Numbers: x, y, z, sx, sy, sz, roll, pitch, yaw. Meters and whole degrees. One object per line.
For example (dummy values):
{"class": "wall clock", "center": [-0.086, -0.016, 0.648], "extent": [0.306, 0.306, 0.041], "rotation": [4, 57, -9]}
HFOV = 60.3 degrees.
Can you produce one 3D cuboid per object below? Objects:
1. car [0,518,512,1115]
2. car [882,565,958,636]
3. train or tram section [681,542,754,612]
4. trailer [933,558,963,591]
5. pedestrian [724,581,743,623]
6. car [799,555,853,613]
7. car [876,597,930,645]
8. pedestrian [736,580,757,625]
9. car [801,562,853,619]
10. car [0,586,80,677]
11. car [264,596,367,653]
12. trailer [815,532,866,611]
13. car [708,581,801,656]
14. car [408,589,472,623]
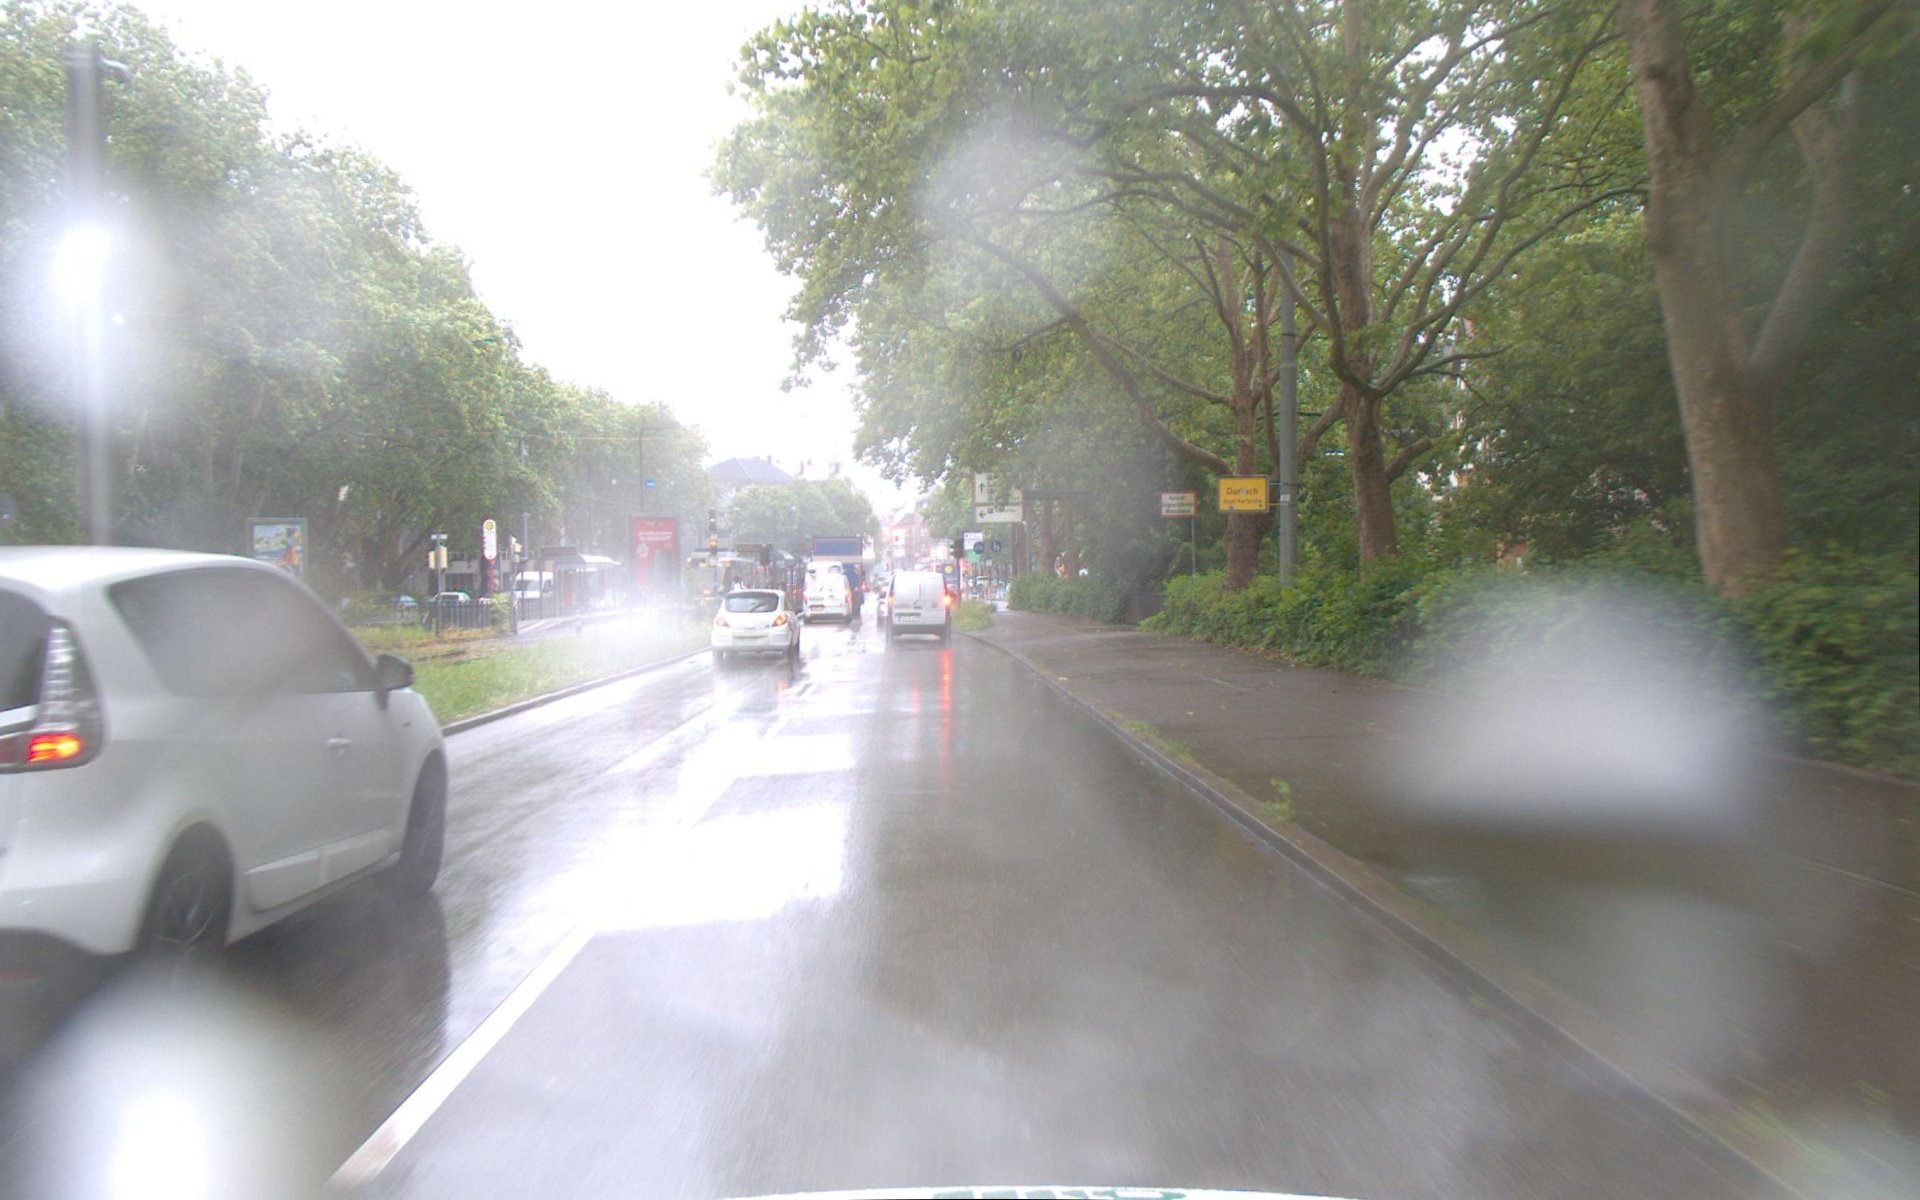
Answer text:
{"class": "car", "center": [-3.305, 0.594, 6.703], "extent": [1.826, 1.652, 4.262], "rotation": [0, 0, 0]}
{"class": "car", "center": [-1.111, 0.018, 44.285], "extent": [1.920, 1.808, 3.567], "rotation": [0, 0, -3]}
{"class": "train or tram section", "center": [-12.419, -1.233, 85.329], "extent": [2.903, 3.342, 8.355], "rotation": [-2, 2, -3]}
{"class": "trailer", "center": [-0.927, -1.913, 125.087], "extent": [1.954, 2.357, 4.664], "rotation": [0, 0, -4]}
{"class": "pedestrian", "center": [-9.723, 0.080, 71.101], "extent": [0.701, 1.775, 0.750], "rotation": [-1, 0, -3]}
{"class": "car", "center": [-6.261, -0.716, 77.840], "extent": [2.283, 2.602, 6.111], "rotation": [0, 0, -2]}
{"class": "car", "center": [-2.035, 0.743, 59.869], "extent": [1.869, 1.646, 3.999], "rotation": [0, 0, -1]}
{"class": "pedestrian", "center": [-8.437, 0.098, 65.379], "extent": [0.774, 1.744, 0.770], "rotation": [1, -1, -3]}
{"class": "car", "center": [-5.534, -0.365, 69.378], "extent": [1.953, 2.302, 5.286], "rotation": [0, 0, -2]}
{"class": "car", "center": [-23.536, 0.769, 40.298], "extent": [1.993, 2.129, 4.797], "rotation": [-3, 0, -6]}
{"class": "car", "center": [-21.087, 0.767, 54.294], "extent": [1.992, 1.686, 4.272], "rotation": [-3, 0, -5]}
{"class": "trailer", "center": [-6.256, -1.488, 87.004], "extent": [2.539, 3.967, 7.631], "rotation": [0, 1, -4]}
{"class": "car", "center": [-4.352, 0.383, 35.467], "extent": [1.691, 1.505, 3.803], "rotation": [0, 0, -3]}
{"class": "car", "center": [-25.191, 0.277, 80.275], "extent": [1.895, 1.544, 3.999], "rotation": [-2, 1, -2]}
